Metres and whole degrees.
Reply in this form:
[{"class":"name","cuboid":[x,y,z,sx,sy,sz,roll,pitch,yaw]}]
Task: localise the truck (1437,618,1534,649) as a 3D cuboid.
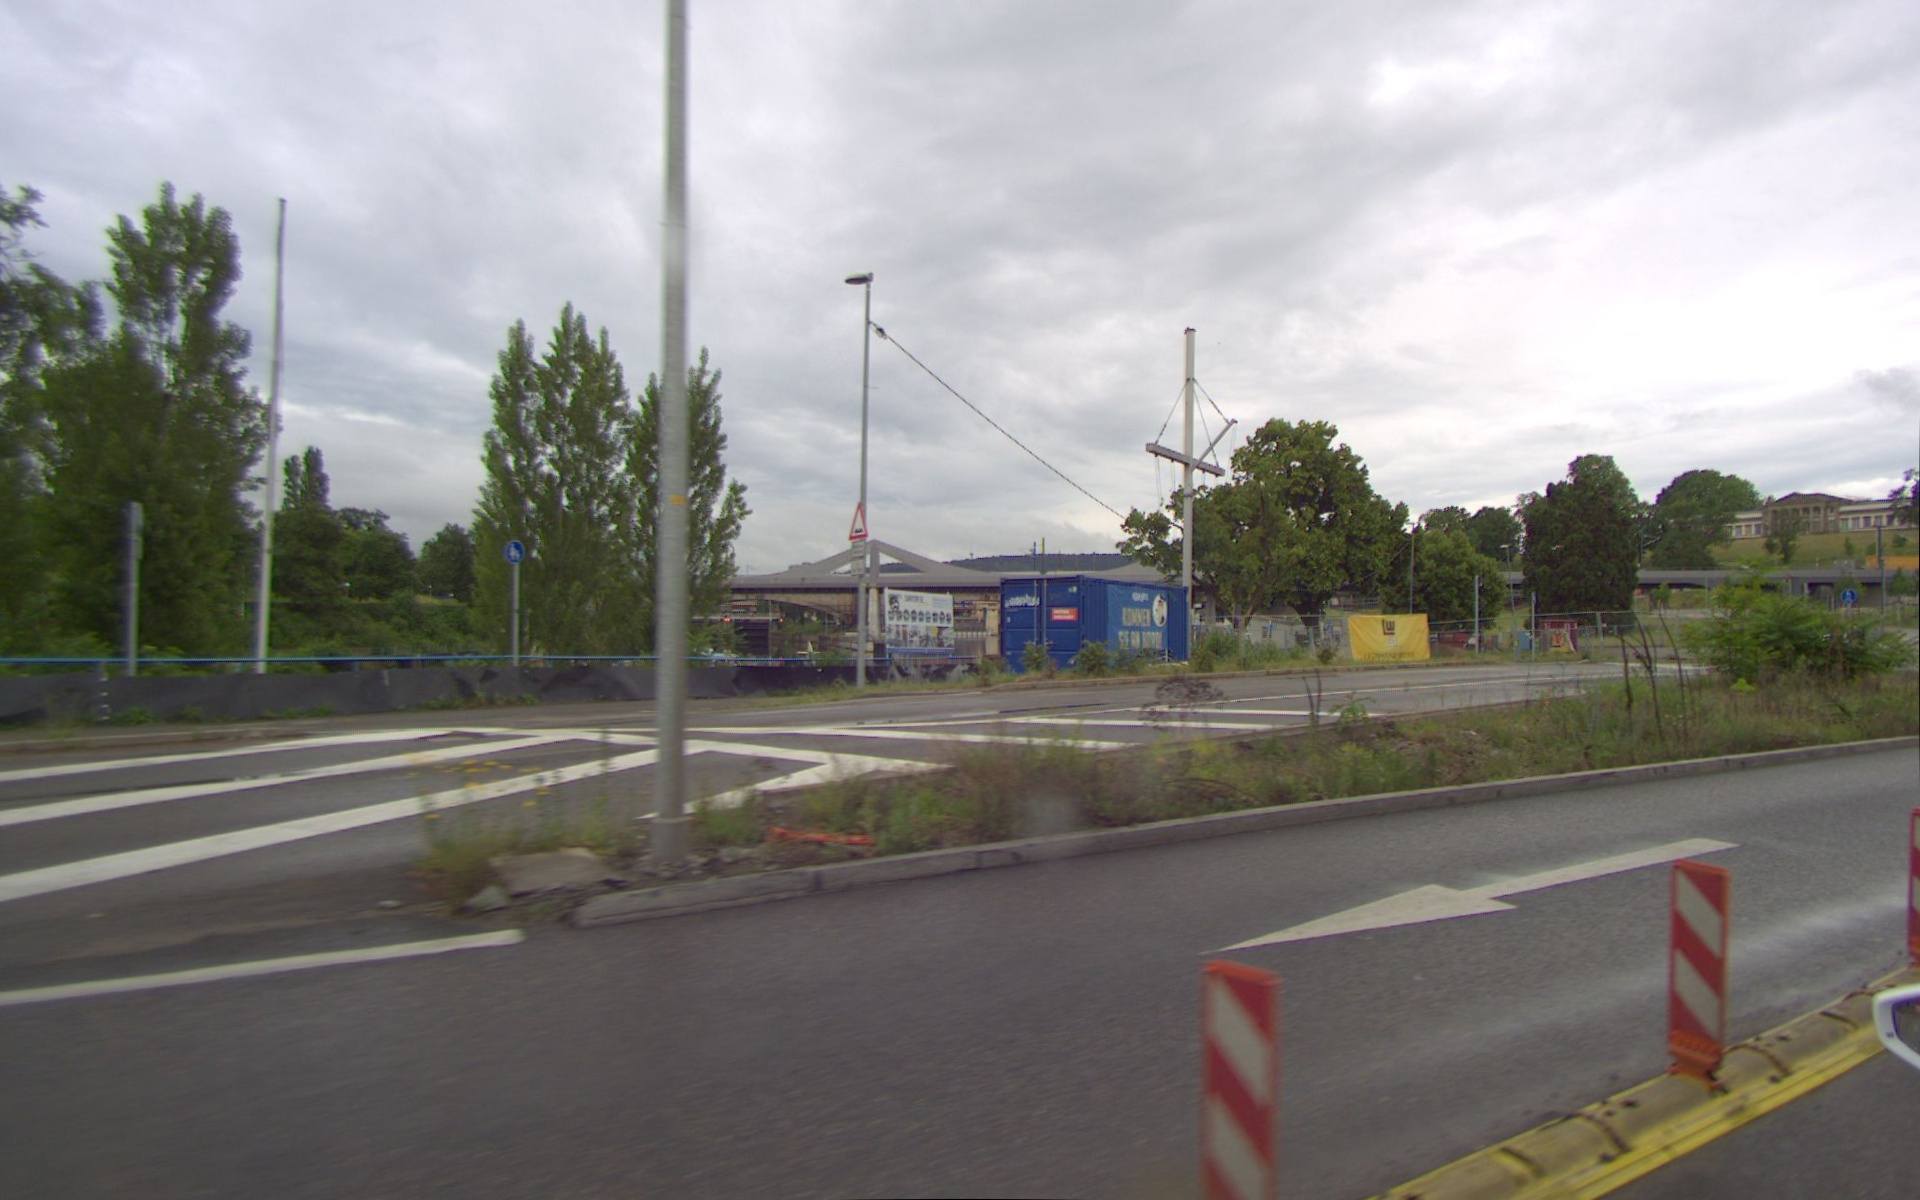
[{"class":"truck","cuboid":[49.243,3.097,94.394,7.807,2.840,2.423,0,-1,22]}]
